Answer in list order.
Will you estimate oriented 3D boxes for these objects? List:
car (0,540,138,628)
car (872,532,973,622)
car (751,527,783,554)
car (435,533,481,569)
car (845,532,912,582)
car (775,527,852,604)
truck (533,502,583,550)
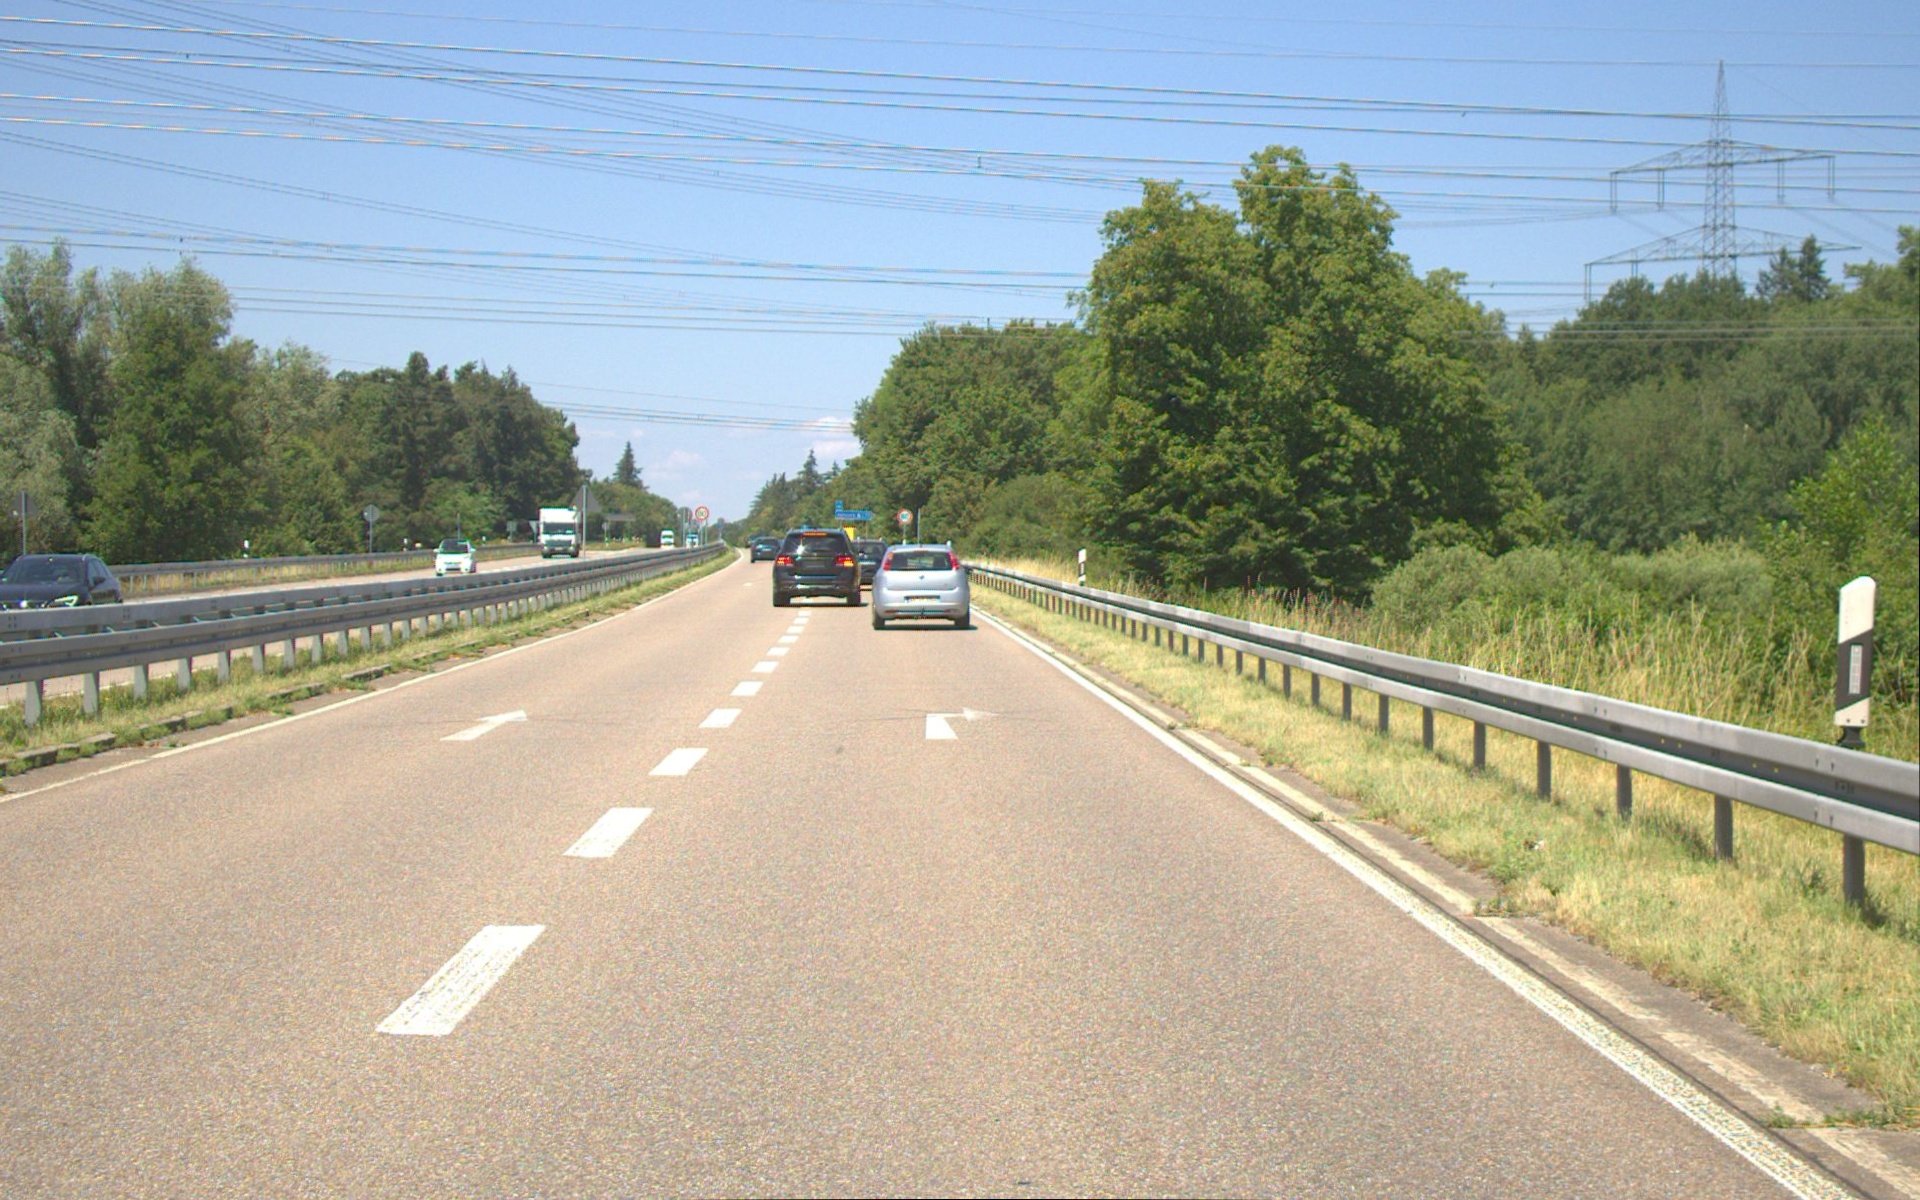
[{"bbox_3d":[-15.217,-0.296,57.714,1.844,1.408,4.681,0,1,-2],"label":"car"},{"bbox_3d":[-0.680,-0.422,60.249,1.640,1.463,3.419,2,1,-2],"label":"car"},{"bbox_3d":[-10.926,-3.361,194.429,1.712,1.466,3.574,2,1,-4],"label":"car"},{"bbox_3d":[-21.072,-2.073,144.354,1.533,1.444,3.702,0,1,-2],"label":"car"},{"bbox_3d":[-2.301,-1.224,97.411,1.640,1.338,3.574,2,1,2],"label":"car"},{"bbox_3d":[-3.321,-0.794,77.914,1.640,1.648,3.574,2,1,-2],"label":"car"},{"bbox_3d":[-26.905,-4.959,230.421,2.718,3.182,8.406,0,1,-3],"label":"truck"}]
